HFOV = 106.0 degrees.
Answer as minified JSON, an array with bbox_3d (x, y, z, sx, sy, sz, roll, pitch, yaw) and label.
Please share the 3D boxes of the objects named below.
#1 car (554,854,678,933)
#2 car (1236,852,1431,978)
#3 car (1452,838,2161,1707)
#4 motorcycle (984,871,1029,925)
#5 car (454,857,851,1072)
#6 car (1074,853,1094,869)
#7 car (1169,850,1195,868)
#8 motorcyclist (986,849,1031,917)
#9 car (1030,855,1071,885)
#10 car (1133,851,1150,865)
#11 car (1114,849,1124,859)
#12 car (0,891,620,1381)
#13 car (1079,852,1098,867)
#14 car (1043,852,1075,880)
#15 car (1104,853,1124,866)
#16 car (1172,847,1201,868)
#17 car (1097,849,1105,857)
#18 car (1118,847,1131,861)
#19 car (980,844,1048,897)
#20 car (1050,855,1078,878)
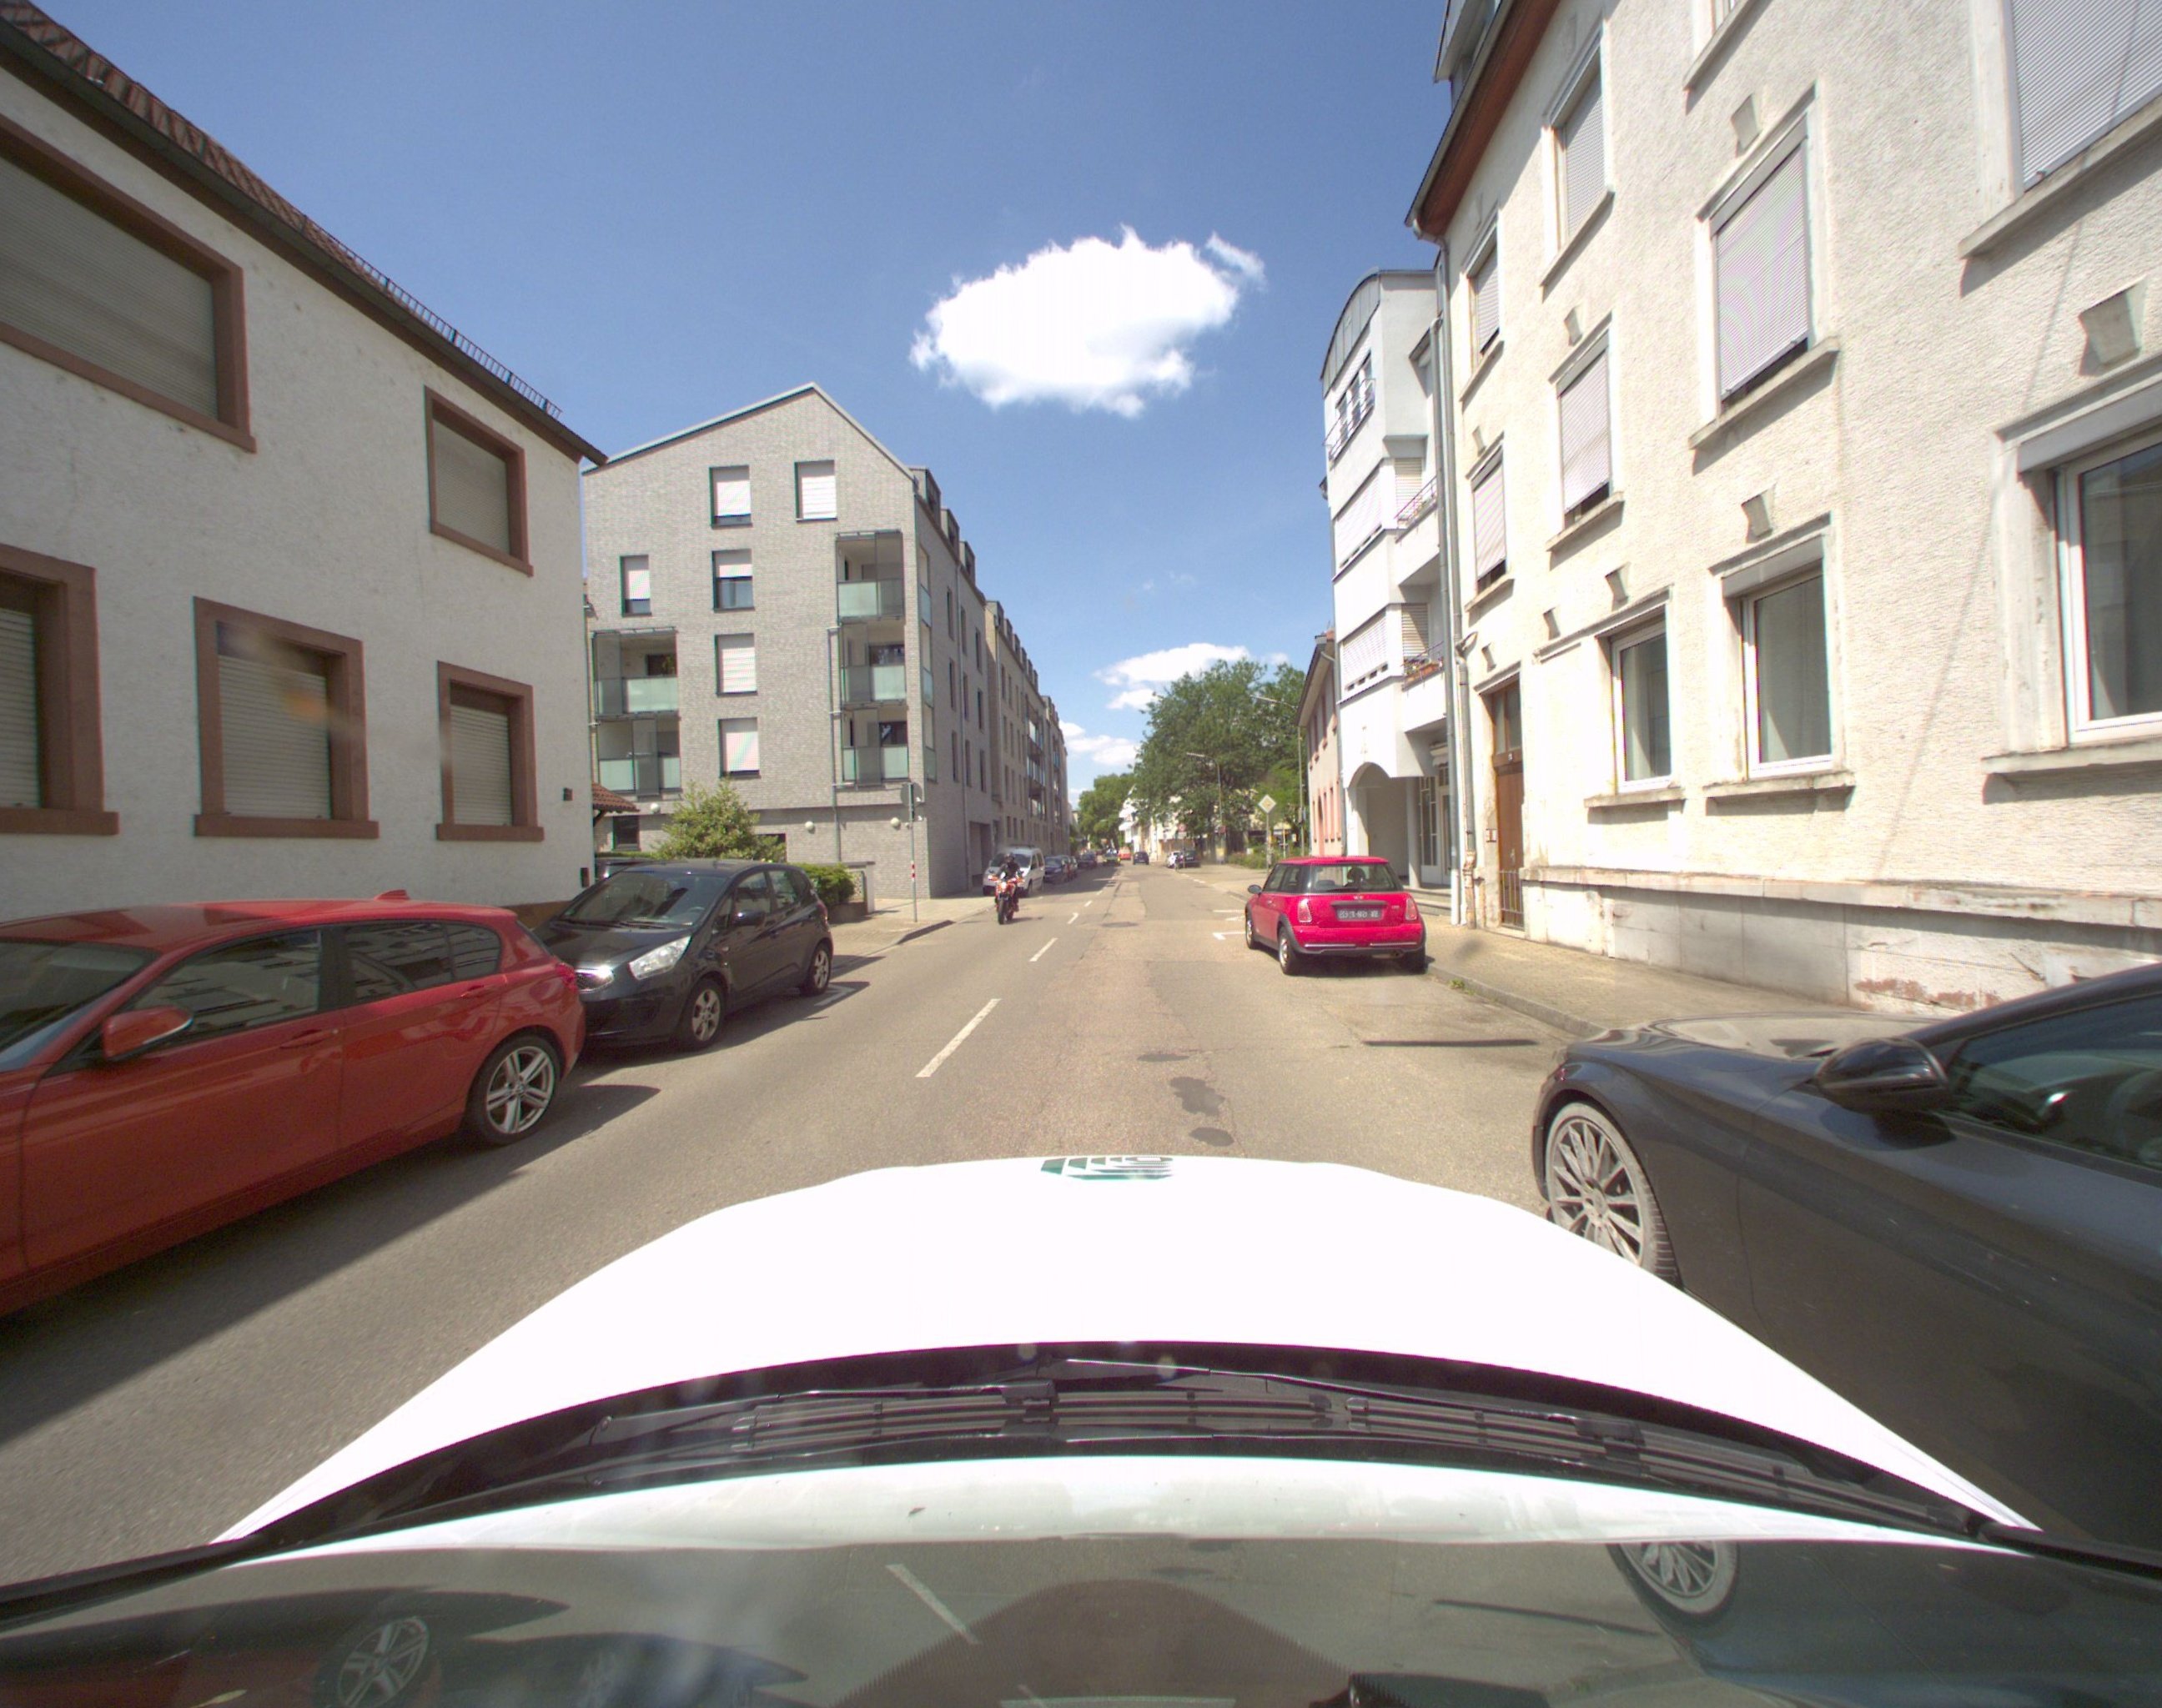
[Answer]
[{"bbox_3d":[-10.280,0.787,17.914,1.647,1.539,3.521,-1,0,-42],"label":"car"},{"bbox_3d":[3.249,0.695,11.153,1.613,1.385,3.540,-2,0,2],"label":"car"},{"bbox_3d":[2.471,0.700,1.333,1.723,1.420,4.546,-2,0,2],"label":"car"},{"bbox_3d":[-1.739,1.012,19.379,0.684,1.122,2.030,-3,0,4],"label":"motorcycle"},{"bbox_3d":[-3.982,0.897,8.457,1.786,1.646,3.949,-1,0,4],"label":"car"},{"bbox_3d":[0.349,0.637,78.949,1.725,1.442,4.003,-3,0,3],"label":"car"},{"bbox_3d":[8.410,0.385,67.900,1.772,1.420,4.002,-3,0,2],"label":"car"},{"bbox_3d":[-1.691,0.663,19.211,0.819,1.509,1.058,-3,0,4],"label":"motorcyclist"},{"bbox_3d":[-1.608,0.834,44.060,1.715,1.456,4.010,-1,0,4],"label":"car"},{"bbox_3d":[6.637,0.448,89.611,1.708,1.402,4.004,-3,1,4],"label":"car"},{"bbox_3d":[6.673,0.043,142.686,1.705,1.634,3.705,-3,0,1],"label":"car"},{"bbox_3d":[-4.305,1.009,3.512,1.825,1.416,4.297,-2,0,6],"label":"car"},{"bbox_3d":[0.828,0.573,84.177,1.725,1.442,4.003,-3,0,3],"label":"car"},{"bbox_3d":[-1.294,0.707,48.752,1.584,1.554,3.573,-2,0,3],"label":"car"},{"bbox_3d":[3.635,0.571,88.677,1.984,1.381,4.399,-1,0,5],"label":"car"},{"bbox_3d":[7.927,0.246,61.487,1.686,1.420,4.002,-5,0,2],"label":"car"},{"bbox_3d":[5.635,-0.250,229.138,2.147,2.013,4.004,-3,0,4],"label":"car"},{"bbox_3d":[6.528,-0.065,121.687,1.831,2.013,4.004,-2,1,4],"label":"car"},{"bbox_3d":[-2.493,0.566,31.404,1.747,1.892,4.345,0,1,7],"label":"car"},{"bbox_3d":[-1.093,0.783,54.331,1.584,1.456,3.706,-1,0,3],"label":"car"}]
